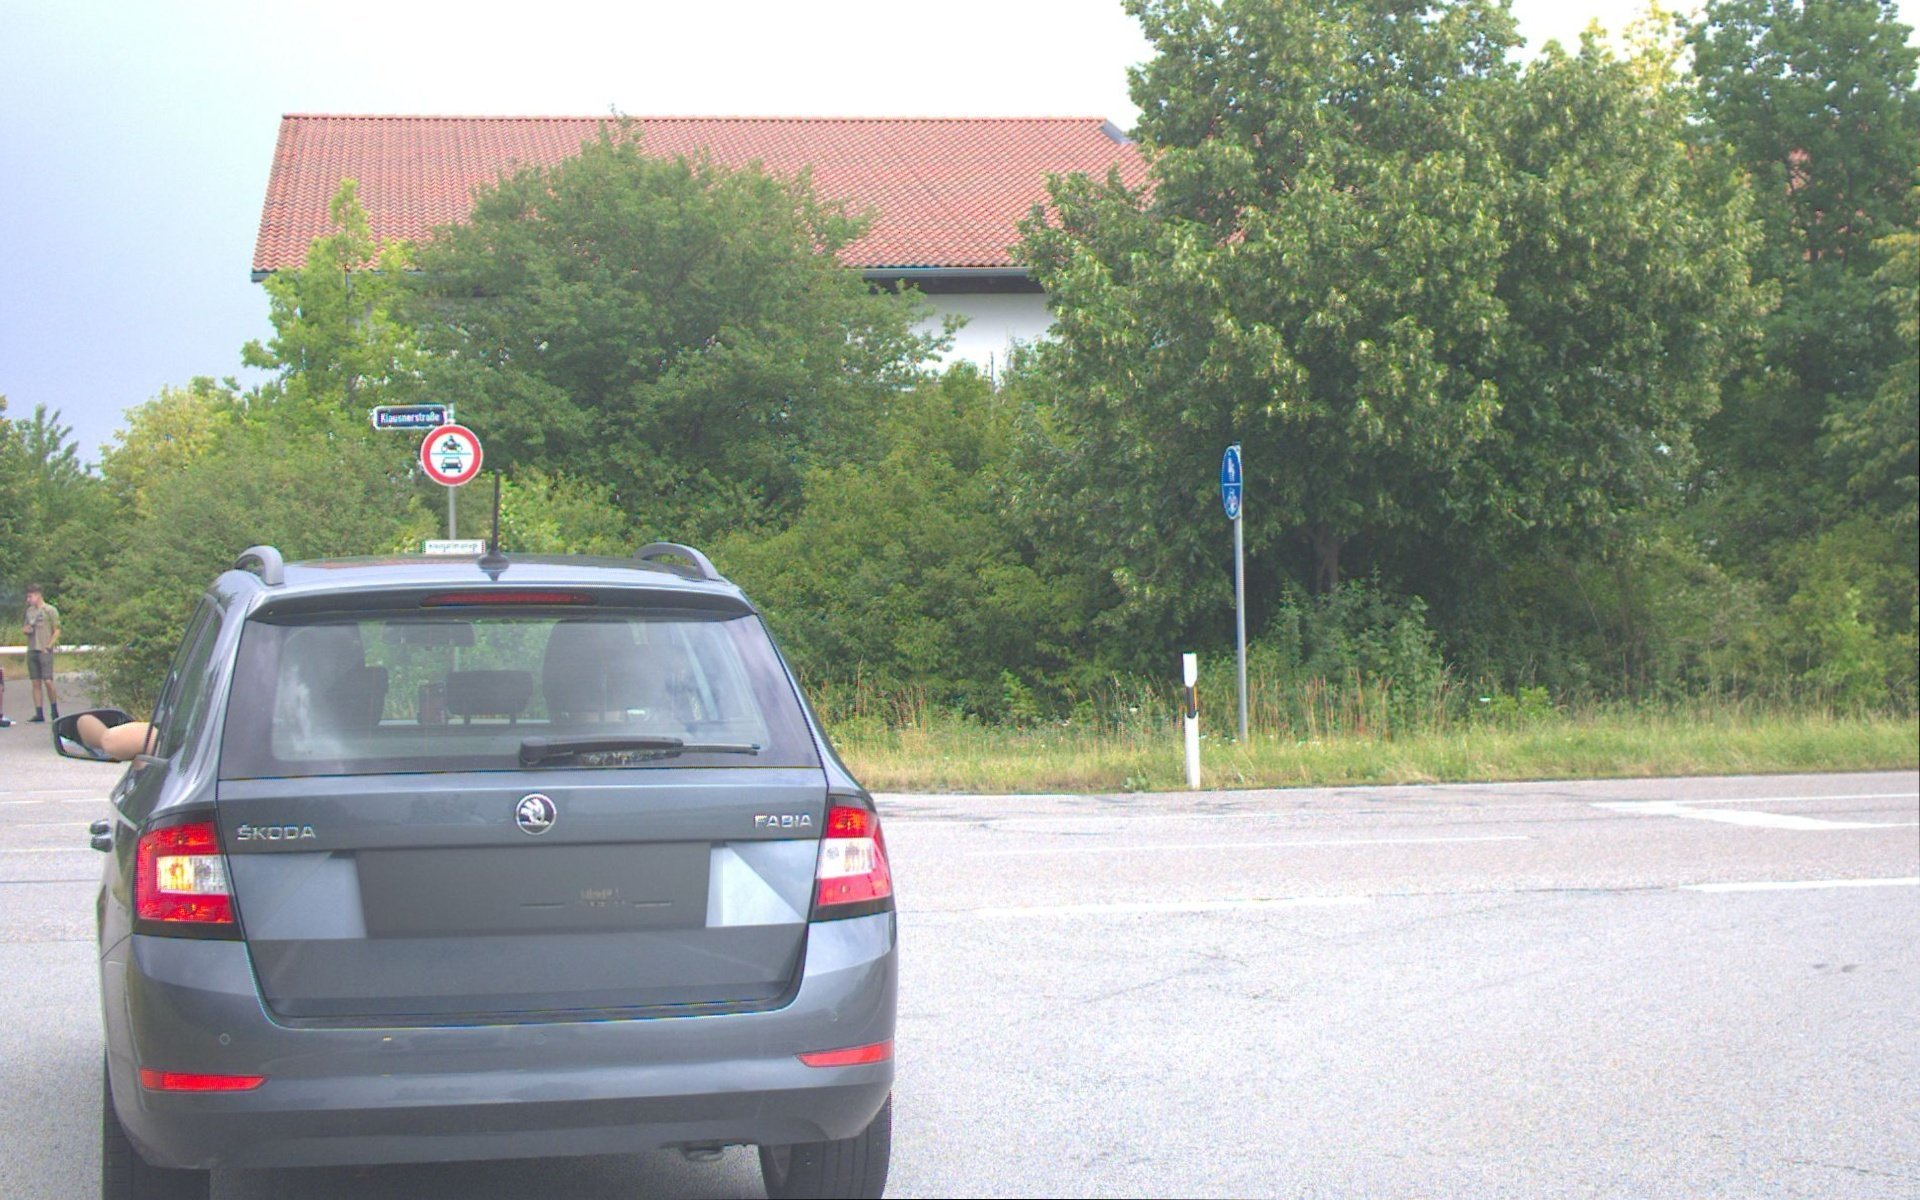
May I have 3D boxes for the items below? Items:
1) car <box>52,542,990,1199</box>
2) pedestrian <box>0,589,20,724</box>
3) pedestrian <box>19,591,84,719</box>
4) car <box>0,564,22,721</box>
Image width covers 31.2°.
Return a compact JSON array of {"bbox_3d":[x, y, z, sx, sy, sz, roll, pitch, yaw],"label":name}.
[{"bbox_3d":[-1.253,0.601,8.151,1.676,1.457,3.709,0,1,-16],"label":"car"},{"bbox_3d":[-12.609,0.738,44.416,0.529,1.720,0.640,-1,2,30],"label":"pedestrian"},{"bbox_3d":[-12.197,0.736,46.167,0.584,1.677,0.565,-1,2,18],"label":"pedestrian"},{"bbox_3d":[-14.888,0.607,44.794,4.907,2.006,2.338,-1,2,31],"label":"car"}]
